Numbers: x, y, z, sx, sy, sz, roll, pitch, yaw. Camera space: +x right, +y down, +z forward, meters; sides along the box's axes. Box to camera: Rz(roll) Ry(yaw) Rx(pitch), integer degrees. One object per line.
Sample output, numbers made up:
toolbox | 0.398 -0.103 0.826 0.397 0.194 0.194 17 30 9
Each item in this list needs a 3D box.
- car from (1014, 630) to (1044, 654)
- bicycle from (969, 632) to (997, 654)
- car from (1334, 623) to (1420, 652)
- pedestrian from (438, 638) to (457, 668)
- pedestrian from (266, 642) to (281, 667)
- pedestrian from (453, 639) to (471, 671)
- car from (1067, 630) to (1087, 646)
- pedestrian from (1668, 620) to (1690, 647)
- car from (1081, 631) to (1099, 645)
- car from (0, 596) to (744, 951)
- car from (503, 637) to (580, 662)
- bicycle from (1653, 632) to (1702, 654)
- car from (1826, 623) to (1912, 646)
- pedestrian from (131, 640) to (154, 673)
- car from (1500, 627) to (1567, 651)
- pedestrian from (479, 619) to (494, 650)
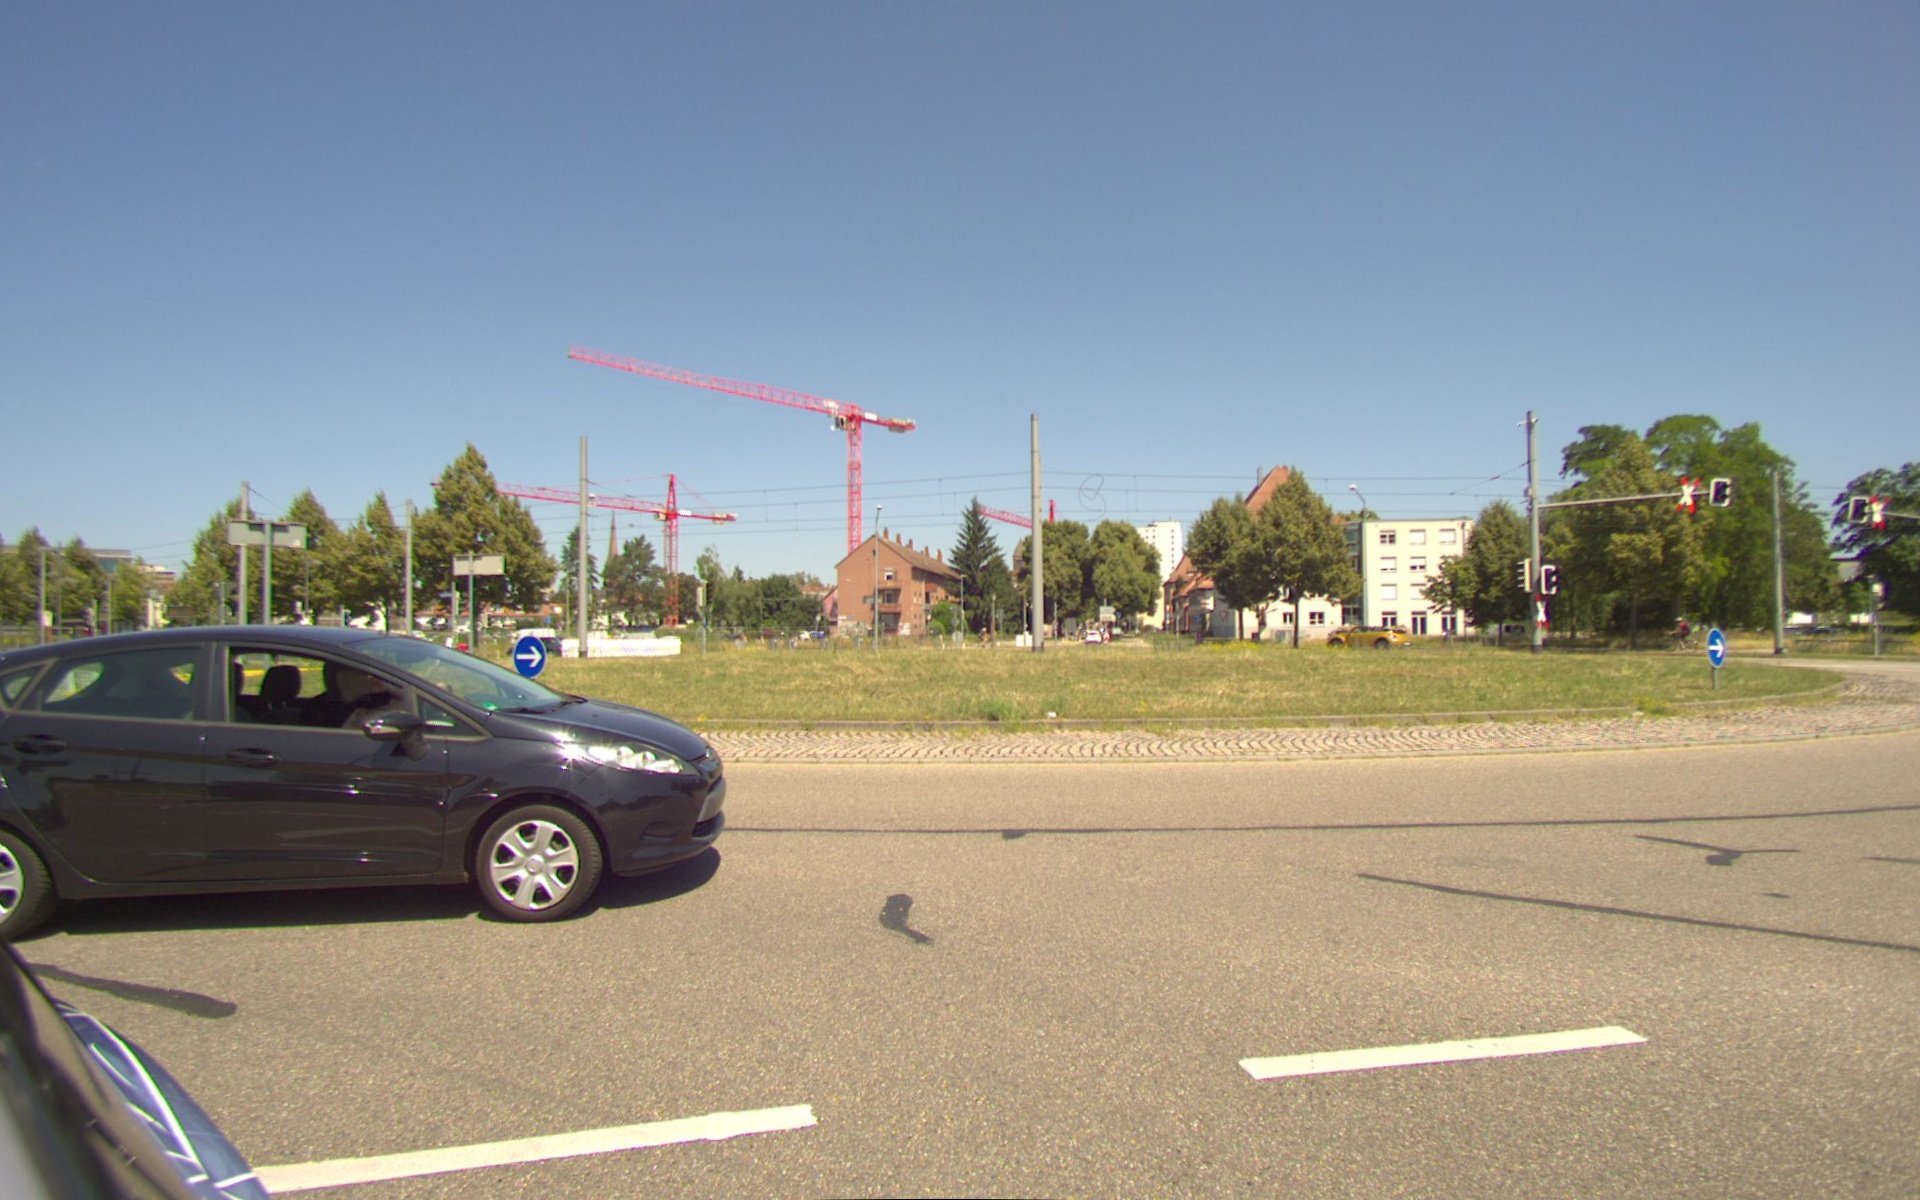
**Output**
car | 6.149 3.686 89.918 1.981 2.029 3.980 0 -2 15
bicycle | 1.810 3.403 79.399 2.053 1.697 0.561 1 -2 -8
car | 21.145 1.878 51.436 1.801 1.413 3.671 1 -1 -34
pedestrian | -32.663 3.374 64.494 0.731 1.913 0.804 -1 -2 40
pedestrian | -40.333 3.206 59.430 0.542 1.417 0.590 -2 -2 35
pedestrian | -32.055 3.529 65.165 0.731 2.029 0.736 -1 -2 40
car | 15.176 4.869 130.948 1.981 2.029 3.980 0 -2 15
pedestrian | 39.115 1.832 55.071 0.698 1.461 0.819 2 -2 -41
car | 14.044 4.106 109.010 1.697 1.431 3.888 1 -2 10
car | -3.141 0.775 5.373 3.760 1.519 1.636 -1 -1 -6
car | -26.002 3.081 63.008 3.941 1.475 2.001 1 -2 -2
bicycle | 39.060 2.335 55.132 0.718 1.123 2.061 2 -2 -41
car | 63.654 2.400 70.942 1.965 1.586 4.013 2 -2 -26
pedestrian | -42.319 2.920 52.405 0.781 1.652 0.750 -1 -2 40
car | 43.201 2.931 76.305 3.964 1.697 1.990 0 -2 16
pedestrian | -31.370 2.262 67.037 0.600 2.029 0.589 0 -2 28
